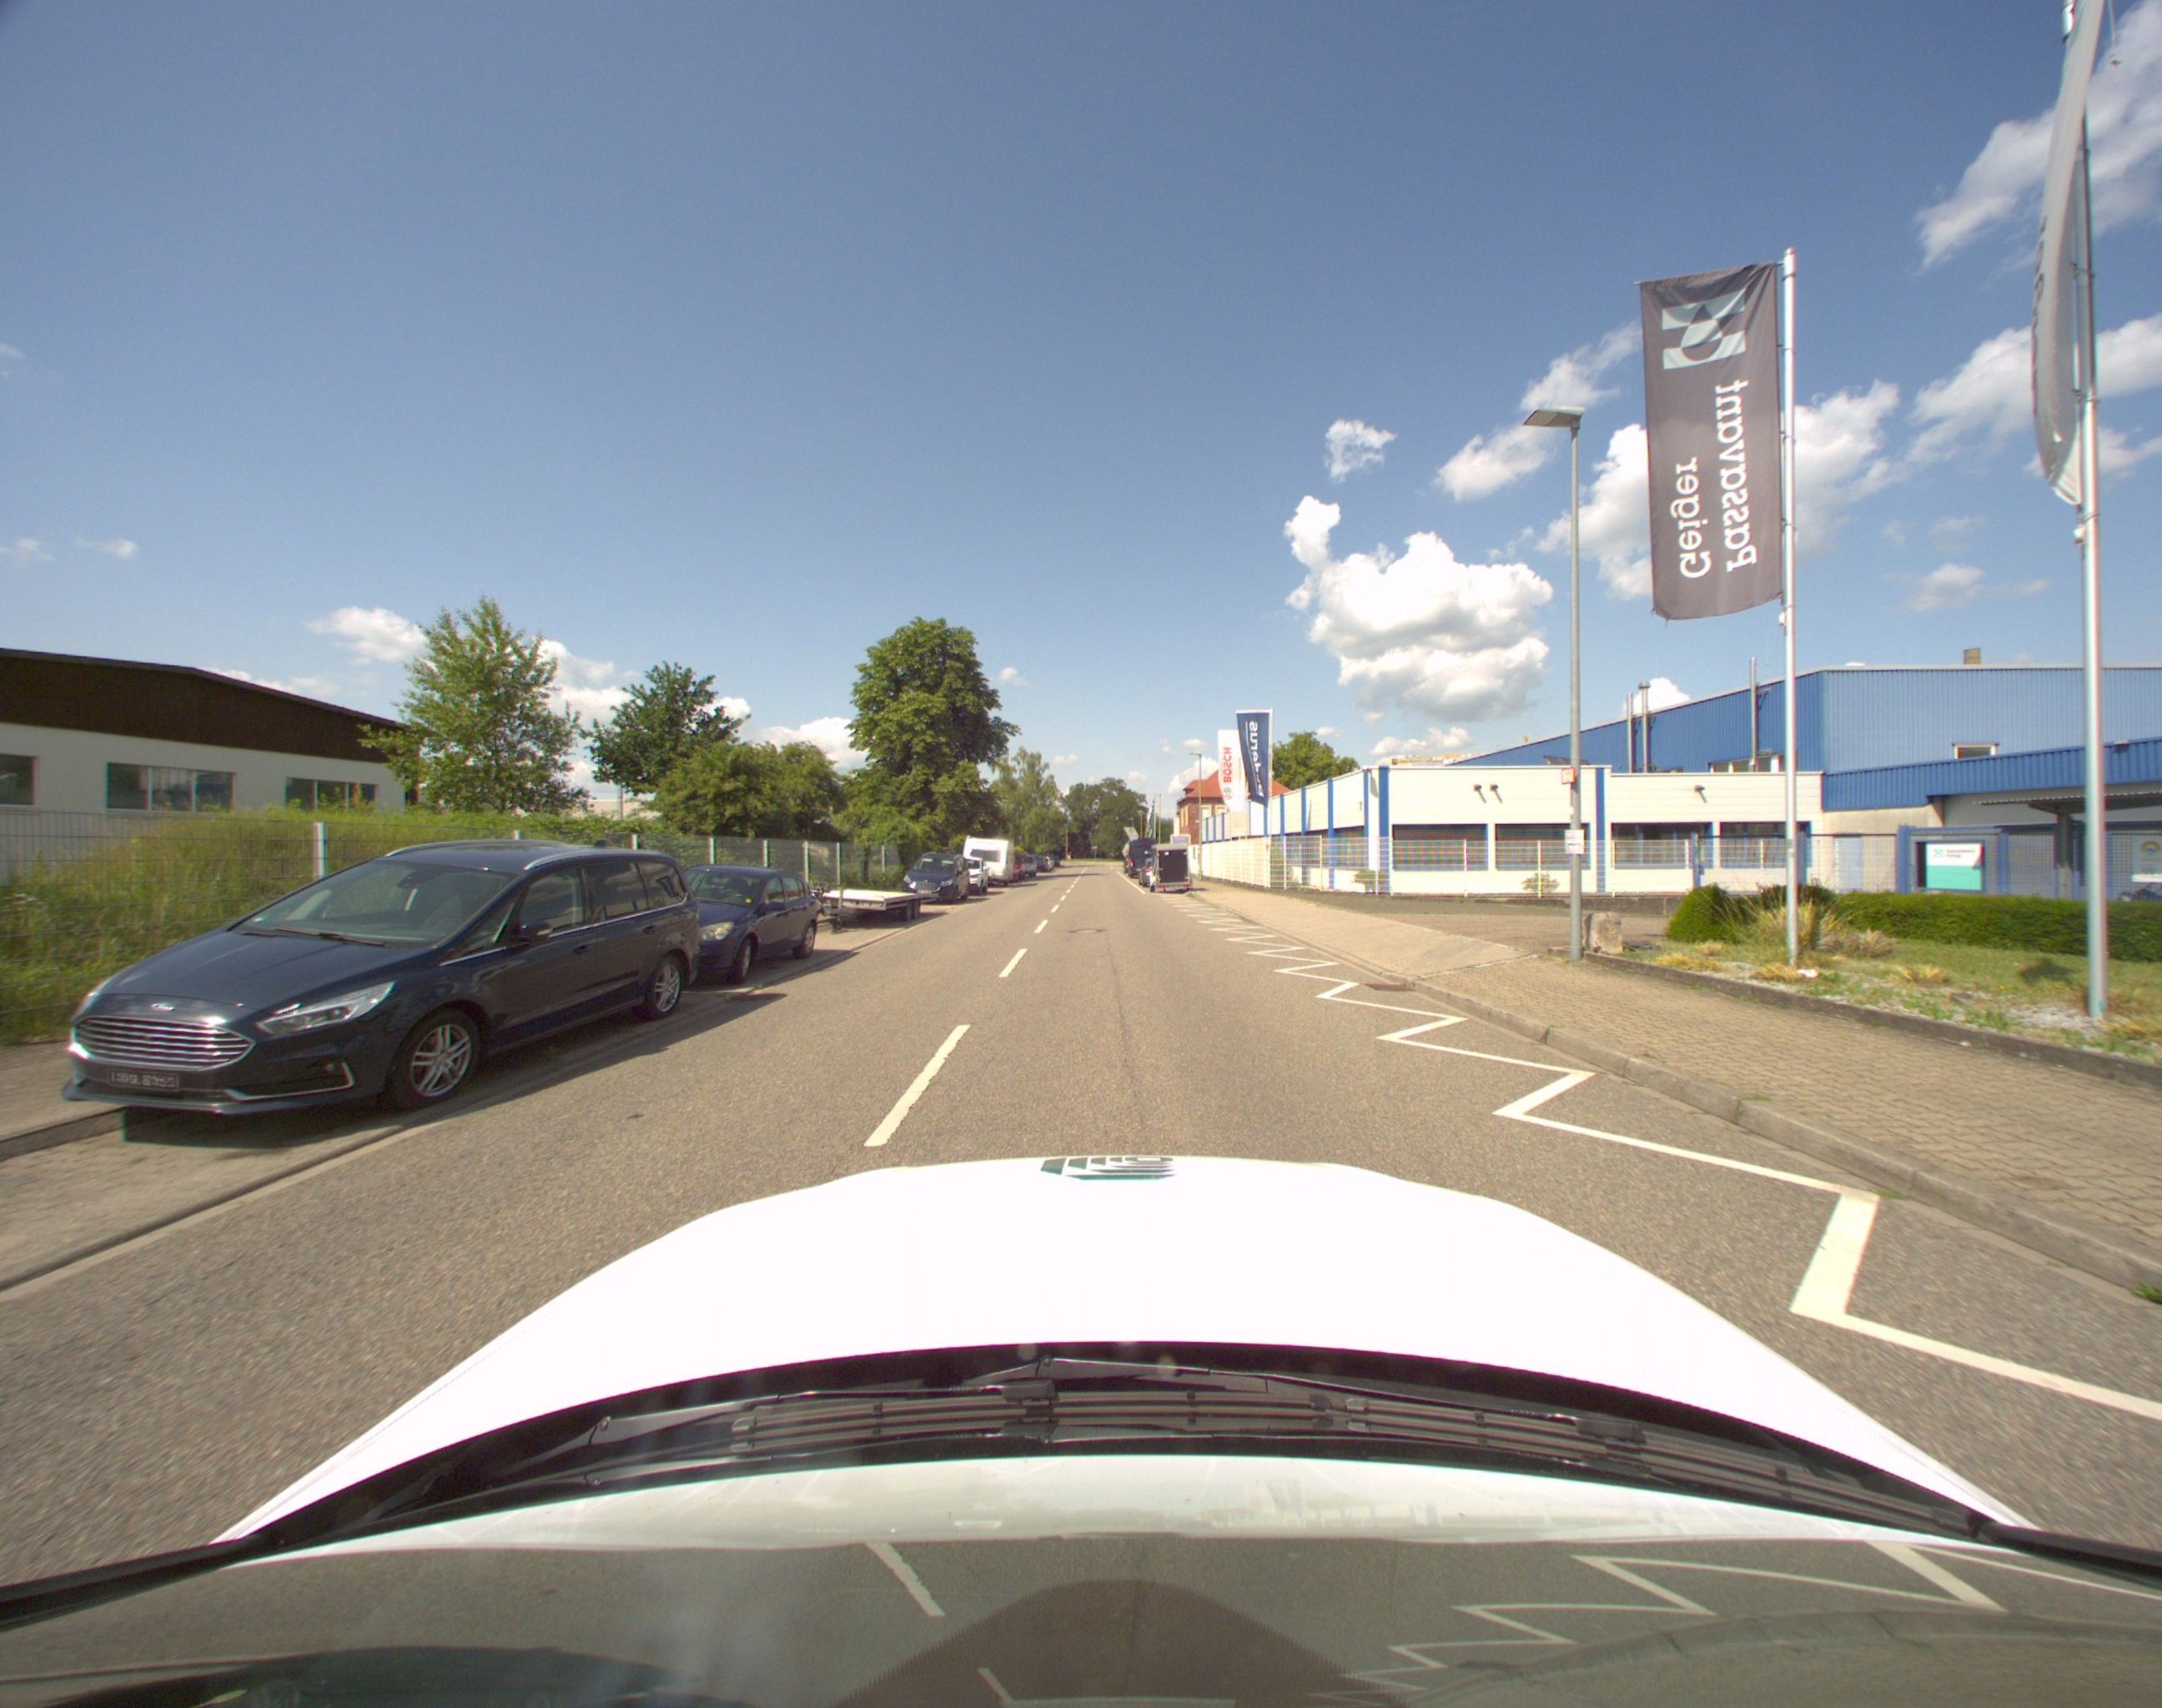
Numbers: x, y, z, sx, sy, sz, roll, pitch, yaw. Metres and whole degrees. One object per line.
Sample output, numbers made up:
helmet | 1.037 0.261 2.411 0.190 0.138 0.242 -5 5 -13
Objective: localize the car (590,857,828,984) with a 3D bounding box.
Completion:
car | -5.109 0.816 11.877 1.572 1.513 4.199 1 -1 -1

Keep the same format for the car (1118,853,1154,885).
car | 2.724 0.735 40.924 1.567 1.507 4.133 0 -1 1

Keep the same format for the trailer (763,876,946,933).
trailer | -5.292 1.145 20.461 2.262 0.883 7.135 4 0 2

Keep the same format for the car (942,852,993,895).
car | -4.958 0.832 36.120 1.679 1.692 4.441 4 -1 -2

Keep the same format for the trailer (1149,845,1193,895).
trailer | 3.781 0.652 34.560 1.596 2.037 2.741 1 -1 0

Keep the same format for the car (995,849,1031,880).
car | -4.793 0.739 57.856 1.892 1.954 4.958 5 -1 1

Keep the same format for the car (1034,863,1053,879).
car | -3.904 1.762 85.291 1.694 1.595 4.789 0 0 2

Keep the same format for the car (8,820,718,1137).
car | -5.065 0.708 6.912 1.795 1.750 4.713 0 0 1

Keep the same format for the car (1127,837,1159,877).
car | 4.353 0.225 58.134 1.931 2.748 6.155 0 0 1

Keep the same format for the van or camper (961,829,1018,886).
van or camper | -4.970 0.195 45.248 2.256 2.804 6.831 3 -1 0

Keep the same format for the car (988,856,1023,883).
car | -4.739 0.945 51.474 1.619 1.532 4.269 3 0 1

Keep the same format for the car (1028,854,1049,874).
car | -4.069 0.945 78.788 1.604 1.745 4.639 2 0 2

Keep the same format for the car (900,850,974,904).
car | -5.155 0.783 29.756 1.821 1.793 4.735 0 0 0

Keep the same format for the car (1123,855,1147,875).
car | 4.622 0.949 70.349 1.818 1.664 4.557 -1 0 1
